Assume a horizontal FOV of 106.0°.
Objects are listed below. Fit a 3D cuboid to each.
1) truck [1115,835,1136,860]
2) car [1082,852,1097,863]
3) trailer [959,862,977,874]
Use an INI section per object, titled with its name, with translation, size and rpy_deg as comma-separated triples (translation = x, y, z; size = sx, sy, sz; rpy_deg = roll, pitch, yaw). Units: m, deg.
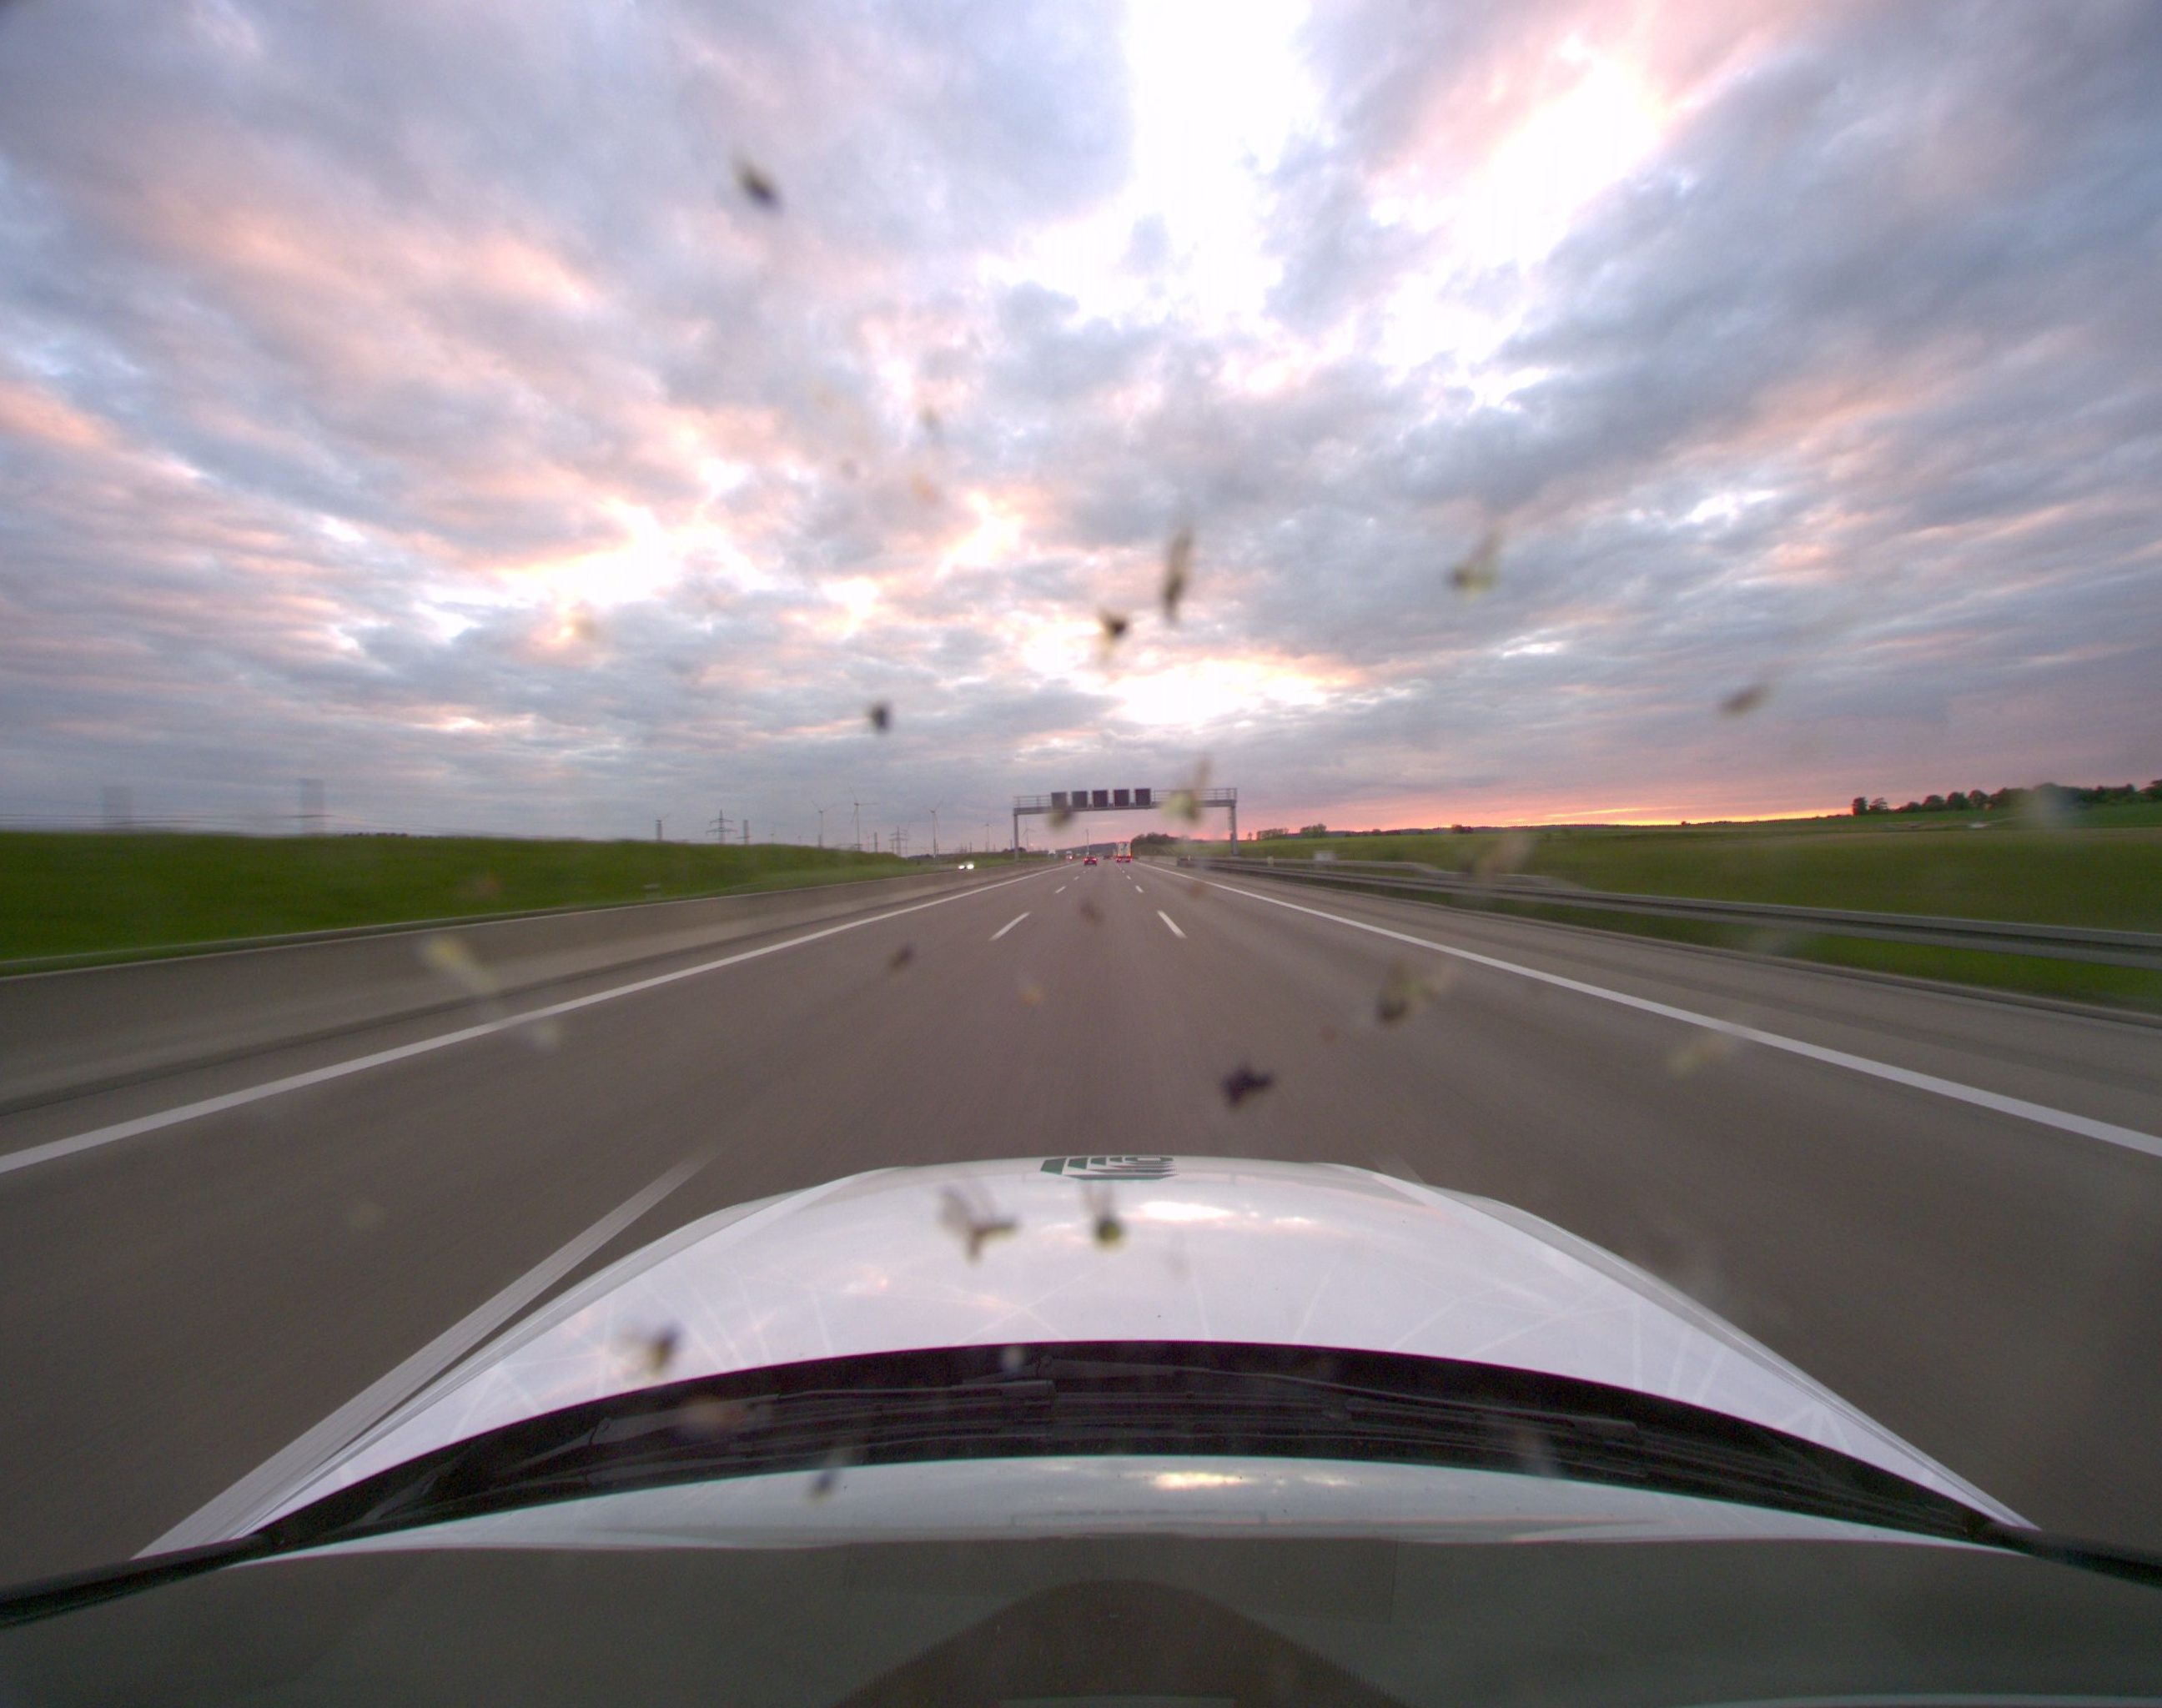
[truck]
translation = 8.765, -1.239, 161.810
size = 3.661, 4.564, 10.986
rpy_deg = -2, 0, 2
[car]
translation = 1.200, 0.546, 115.441
size = 1.980, 1.429, 4.003
rpy_deg = -2, 0, 2
[trailer]
translation = -15.869, 1.939, 114.693
size = 1.710, 1.464, 4.003
rpy_deg = -2, 0, 3
